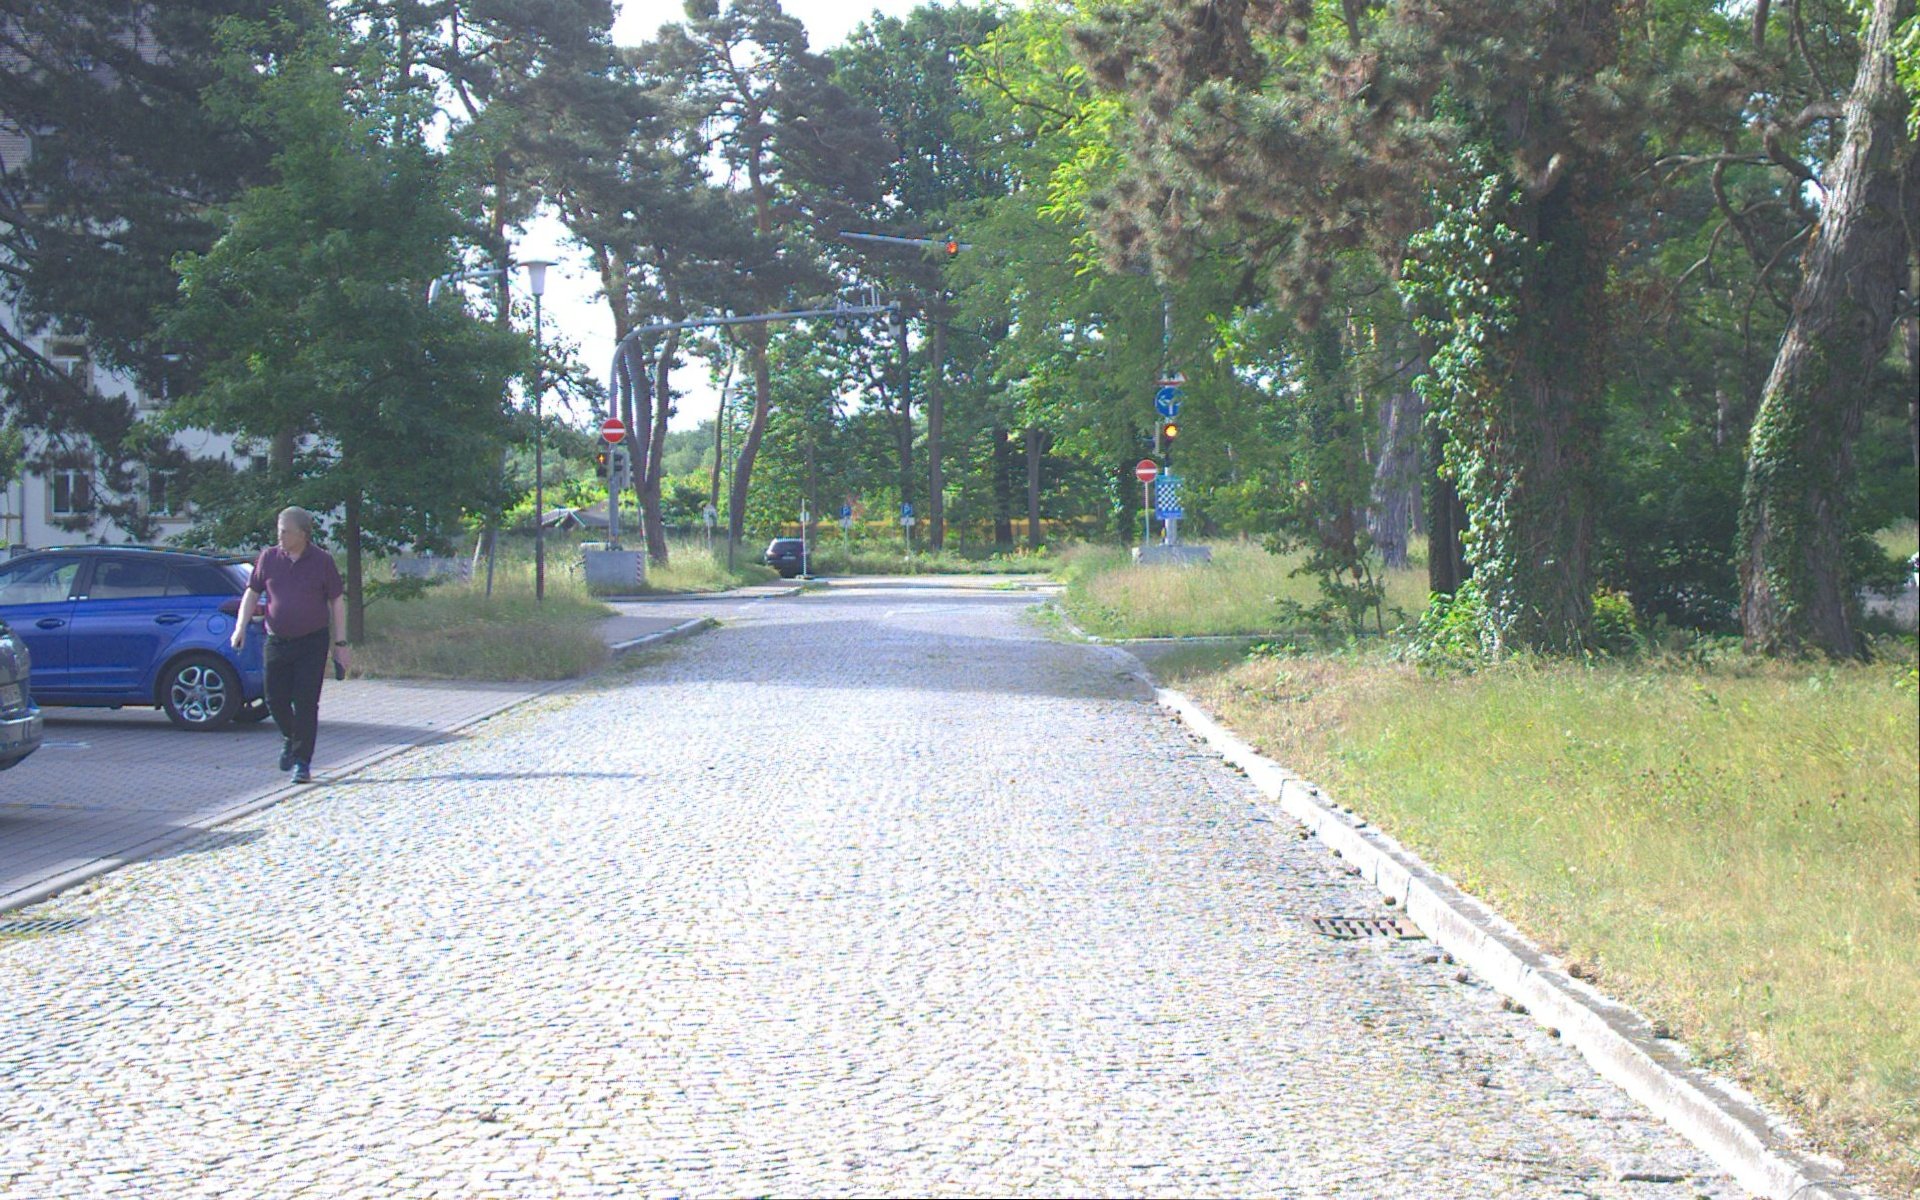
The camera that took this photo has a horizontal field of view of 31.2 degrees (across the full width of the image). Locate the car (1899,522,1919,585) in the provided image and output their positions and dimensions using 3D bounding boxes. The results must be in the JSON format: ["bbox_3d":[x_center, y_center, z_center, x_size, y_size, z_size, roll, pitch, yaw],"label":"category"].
[{"bbox_3d":[20.909,-0.954,70.783,1.730,1.307,4.332,-1,1,-3],"label":"car"}]

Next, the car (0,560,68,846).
[{"bbox_3d":[-7.241,0.496,18.878,4.256,1.459,1.681,1,3,-2],"label":"car"}]

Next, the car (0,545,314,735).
[{"bbox_3d":[-7.461,0.293,28.483,3.836,1.459,1.720,1,1,3],"label":"car"}]

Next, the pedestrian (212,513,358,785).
[{"bbox_3d":[-4.496,0.307,22.960,0.804,1.765,1.153,-1,1,-4],"label":"pedestrian"}]

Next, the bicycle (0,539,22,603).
[{"bbox_3d":[-22.243,-0.664,78.721,0.826,1.432,2.554,-1,1,0],"label":"bicycle"}]

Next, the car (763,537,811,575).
[{"bbox_3d":[-6.752,-1.736,134.661,1.845,1.481,4.001,-1,1,-2],"label":"car"}]

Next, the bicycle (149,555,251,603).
[{"bbox_3d":[-17.078,-0.483,77.250,2.117,1.043,0.829,-1,1,-3],"label":"bicycle"}]

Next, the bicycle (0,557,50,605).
[{"bbox_3d":[-21.449,-0.438,78.380,0.826,1.043,2.124,-1,1,0],"label":"bicycle"}]
